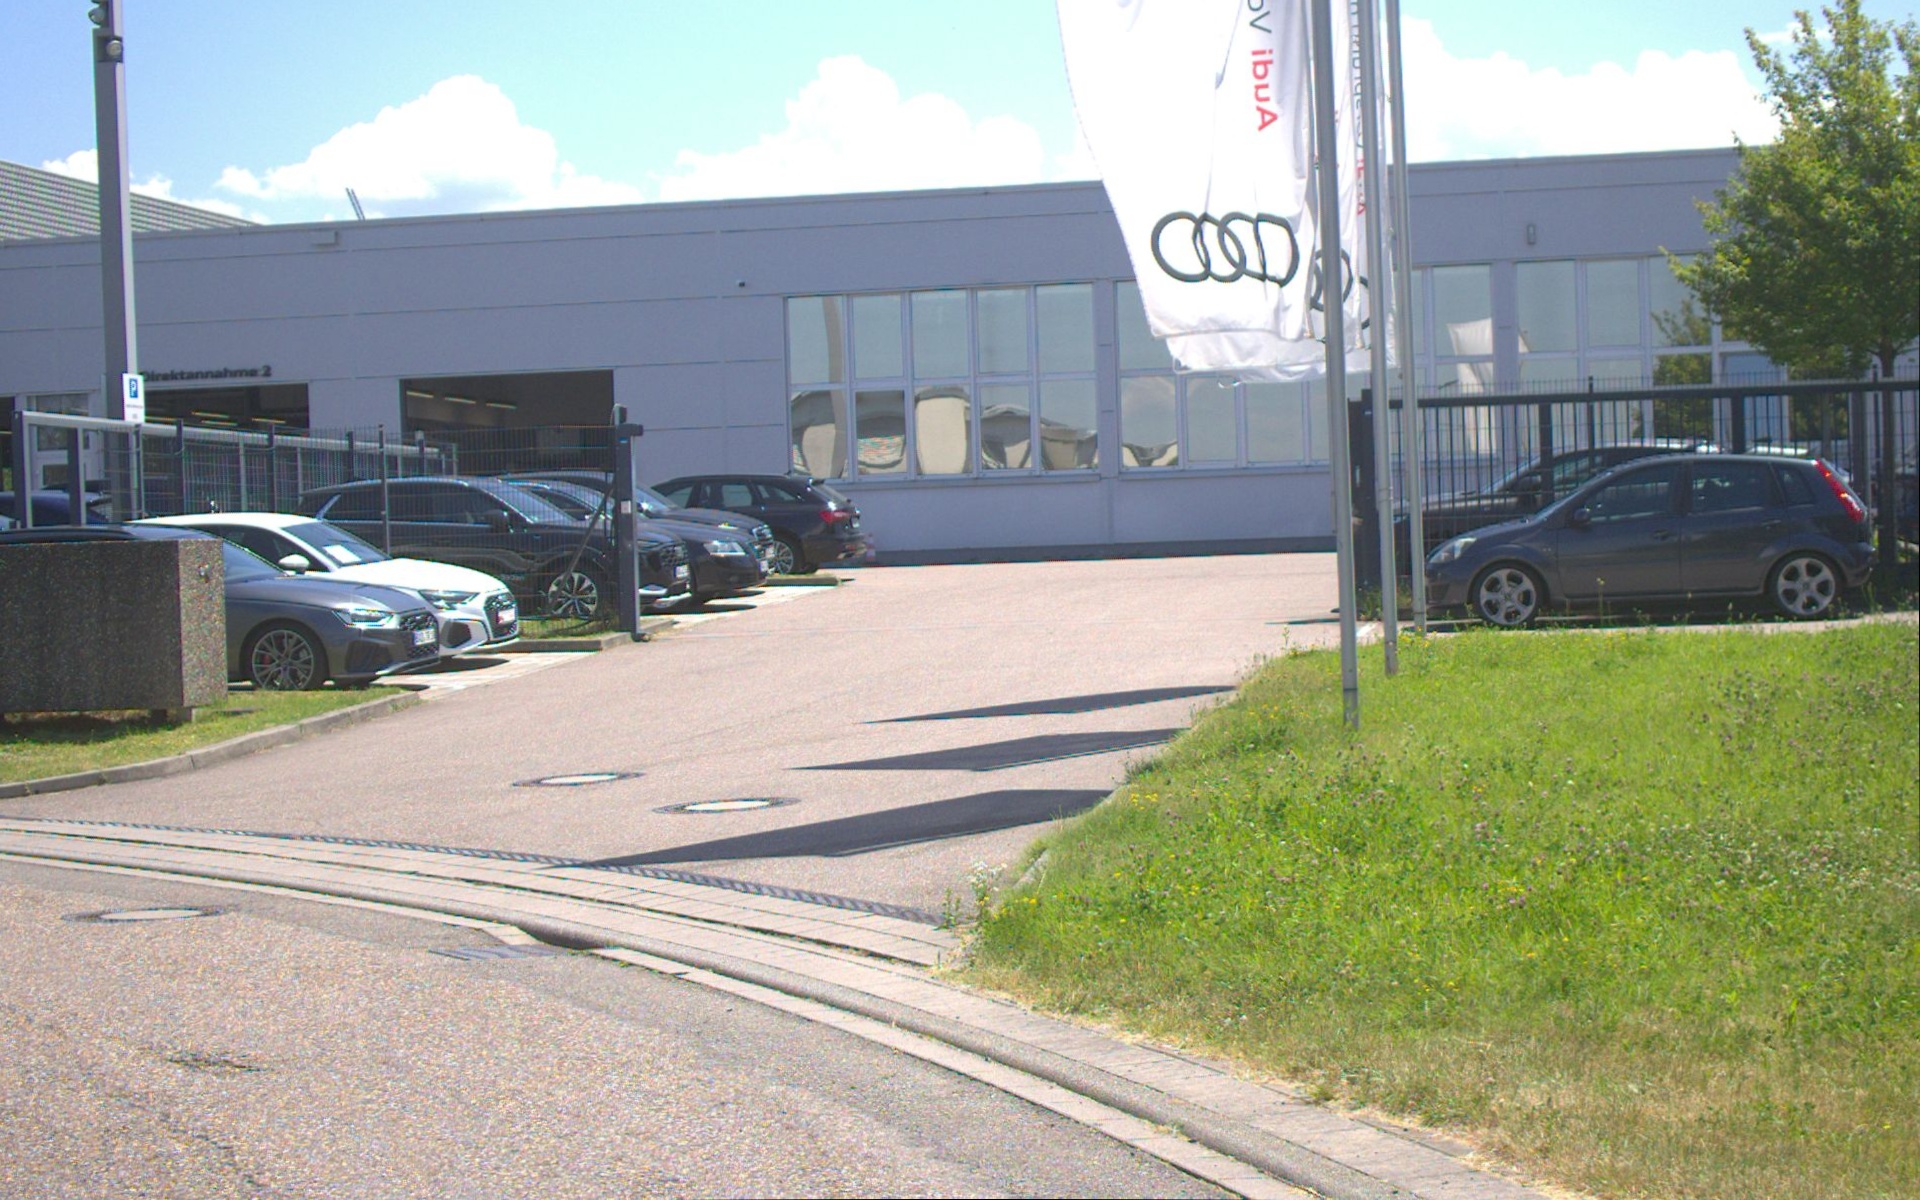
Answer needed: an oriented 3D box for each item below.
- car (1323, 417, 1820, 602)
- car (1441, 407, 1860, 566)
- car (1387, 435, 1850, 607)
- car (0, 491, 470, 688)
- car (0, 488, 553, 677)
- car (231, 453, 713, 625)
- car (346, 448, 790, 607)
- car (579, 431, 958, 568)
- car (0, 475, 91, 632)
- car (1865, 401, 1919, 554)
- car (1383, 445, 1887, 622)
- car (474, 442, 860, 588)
[{"bbox_3d":[5.938,-0.897,33.620,4.613,1.624,1.967,-2,2,9],"label":"car"},{"bbox_3d":[7.977,-1.307,40.021,4.613,1.624,1.967,-2,1,9],"label":"car"},{"bbox_3d":[6.864,-0.845,36.117,4.613,1.624,1.967,-2,2,9],"label":"car"},{"bbox_3d":[-6.807,-0.087,28.823,4.930,1.462,1.967,-2,2,9],"label":"car"},{"bbox_3d":[-6.405,-0.170,31.578,4.930,1.523,1.825,-2,2,9],"label":"car"},{"bbox_3d":[-5.110,-0.655,36.329,4.613,1.624,1.967,-2,2,9],"label":"car"},{"bbox_3d":[-4.428,-0.837,39.160,4.613,1.624,1.967,-2,2,9],"label":"car"},{"bbox_3d":[-2.484,-1.336,45.245,4.613,1.624,1.967,-2,2,9],"label":"car"},{"bbox_3d":[-12.113,-0.450,37.423,4.772,1.637,1.830,-2,1,9],"label":"car"},{"bbox_3d":[12.104,-1.402,37.302,4.201,1.624,1.795,-2,1,9],"label":"car"},{"bbox_3d":[5.851,-0.587,29.880,4.134,1.344,1.780,-2,2,12],"label":"car"},{"bbox_3d":[-3.591,-1.066,42.542,4.365,1.624,1.967,-2,2,9],"label":"car"}]
